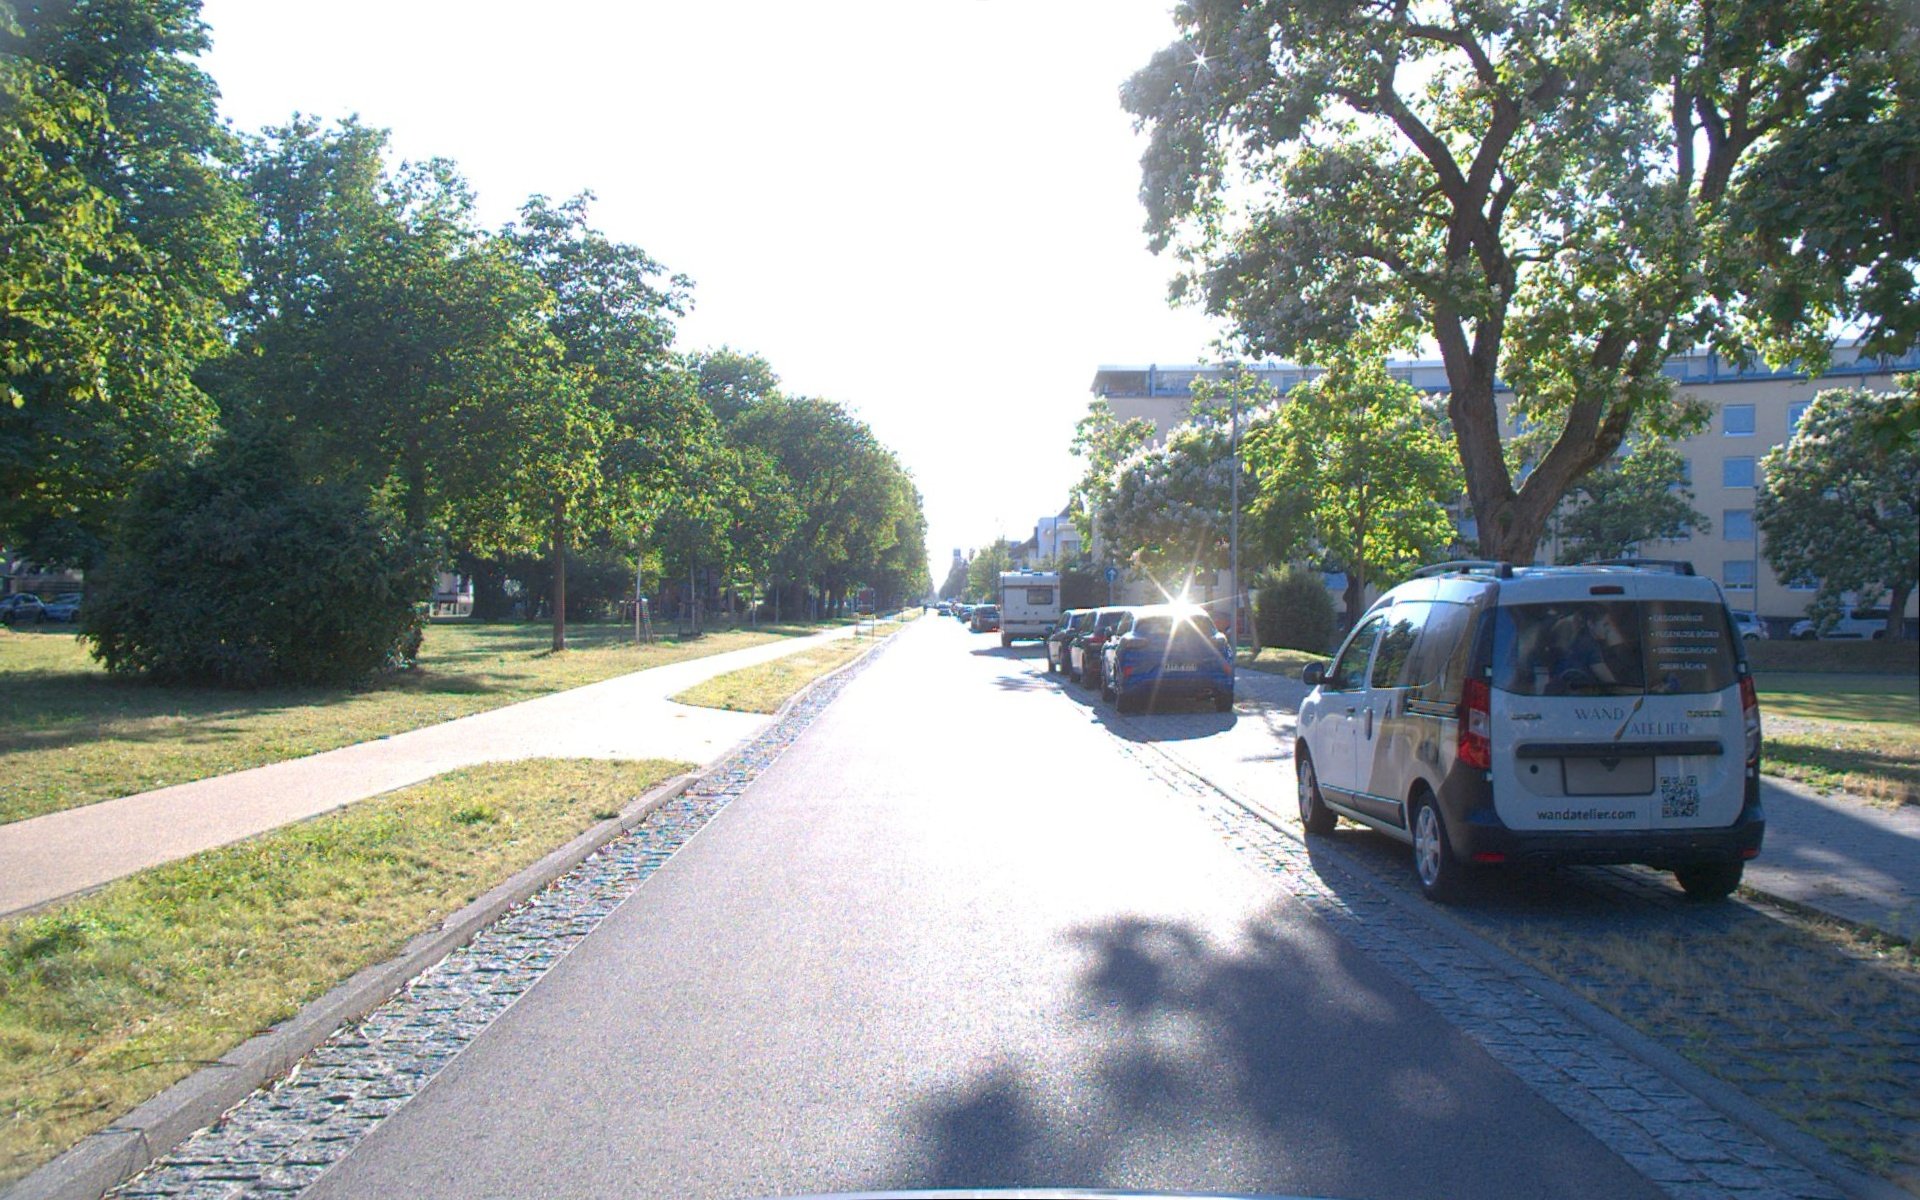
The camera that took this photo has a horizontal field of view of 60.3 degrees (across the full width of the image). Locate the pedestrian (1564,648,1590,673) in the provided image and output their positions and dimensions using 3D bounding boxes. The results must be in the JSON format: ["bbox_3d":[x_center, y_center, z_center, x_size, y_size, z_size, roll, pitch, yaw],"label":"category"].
[{"bbox_3d":[20.986,2.064,56.275,0.598,0.827,0.724,1,0,0],"label":"pedestrian"}]

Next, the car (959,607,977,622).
[{"bbox_3d":[0.758,1.357,158.328,1.593,1.434,4.248,0,-1,-1],"label":"car"}]

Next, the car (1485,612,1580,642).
[{"bbox_3d":[26.417,1.236,76.364,4.108,1.381,1.693,0,-1,20],"label":"car"}]

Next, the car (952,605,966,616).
[{"bbox_3d":[-0.137,1.321,206.059,1.593,1.434,4.248,0,-1,-1],"label":"car"}]

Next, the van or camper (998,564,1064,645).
[{"bbox_3d":[2.676,0.225,63.517,2.189,2.955,5.671,0,-1,-1],"label":"van or camper"}]

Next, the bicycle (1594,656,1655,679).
[{"bbox_3d":[20.748,2.104,51.639,1.730,0.626,1.811,0,0,23],"label":"bicycle"}]

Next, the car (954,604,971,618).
[{"bbox_3d":[0.241,1.101,169.758,1.593,1.434,4.248,0,-1,-1],"label":"car"}]

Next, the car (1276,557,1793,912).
[{"bbox_3d":[3.307,0.692,10.528,1.644,1.770,4.512,0,-1,-1],"label":"car"}]

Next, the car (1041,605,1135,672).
[{"bbox_3d":[2.946,0.876,38.777,1.594,1.490,4.245,0,-1,-4],"label":"car"}]

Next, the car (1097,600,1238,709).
[{"bbox_3d":[3.168,0.803,25.945,1.696,1.578,4.275,0,-1,0],"label":"car"}]

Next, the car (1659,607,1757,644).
[{"bbox_3d":[33.128,1.125,73.253,3.909,1.579,1.608,0,-1,27],"label":"car"}]

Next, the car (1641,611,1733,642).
[{"bbox_3d":[34.764,1.258,79.111,3.910,1.478,1.878,0,-1,28],"label":"car"}]

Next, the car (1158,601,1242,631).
[{"bbox_3d":[12.383,0.828,85.519,4.107,1.557,2.001,0,-1,3],"label":"car"}]

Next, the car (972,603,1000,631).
[{"bbox_3d":[1.616,1.085,104.570,1.593,1.698,4.248,0,-1,-1],"label":"car"}]

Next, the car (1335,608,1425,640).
[{"bbox_3d":[19.835,1.148,78.180,4.106,1.488,1.694,0,-1,15],"label":"car"}]

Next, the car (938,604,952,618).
[{"bbox_3d":[-1.928,1.419,212.926,1.789,1.698,4.248,0,-1,-1],"label":"car"}]

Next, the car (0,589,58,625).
[{"bbox_3d":[-41.944,0.328,73.126,1.953,1.534,4.000,0,-1,0],"label":"car"}]

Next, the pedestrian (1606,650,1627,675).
[{"bbox_3d":[21.979,2.092,55.372,0.463,0.827,0.612,1,0,1],"label":"pedestrian"}]

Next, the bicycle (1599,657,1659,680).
[{"bbox_3d":[21.270,2.176,52.538,1.730,0.626,1.811,0,0,23],"label":"bicycle"}]

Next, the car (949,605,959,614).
[{"bbox_3d":[-0.926,1.478,258.060,1.593,1.434,4.248,0,-1,-1],"label":"car"}]

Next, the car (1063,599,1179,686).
[{"bbox_3d":[3.051,0.796,32.196,1.697,1.578,4.420,0,-1,-2],"label":"car"}]

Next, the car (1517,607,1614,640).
[{"bbox_3d":[29.848,1.170,81.691,4.416,1.597,1.881,0,-1,18],"label":"car"}]

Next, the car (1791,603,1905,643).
[{"bbox_3d":[40.750,1.030,75.927,4.433,1.776,1.874,0,-1,34],"label":"car"}]

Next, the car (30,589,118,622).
[{"bbox_3d":[-41.918,0.281,78.373,1.953,1.534,4.115,0,-1,0],"label":"car"}]

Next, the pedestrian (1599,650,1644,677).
[{"bbox_3d":[21.758,2.090,54.395,0.570,0.827,1.238,2,0,-45],"label":"pedestrian"}]
